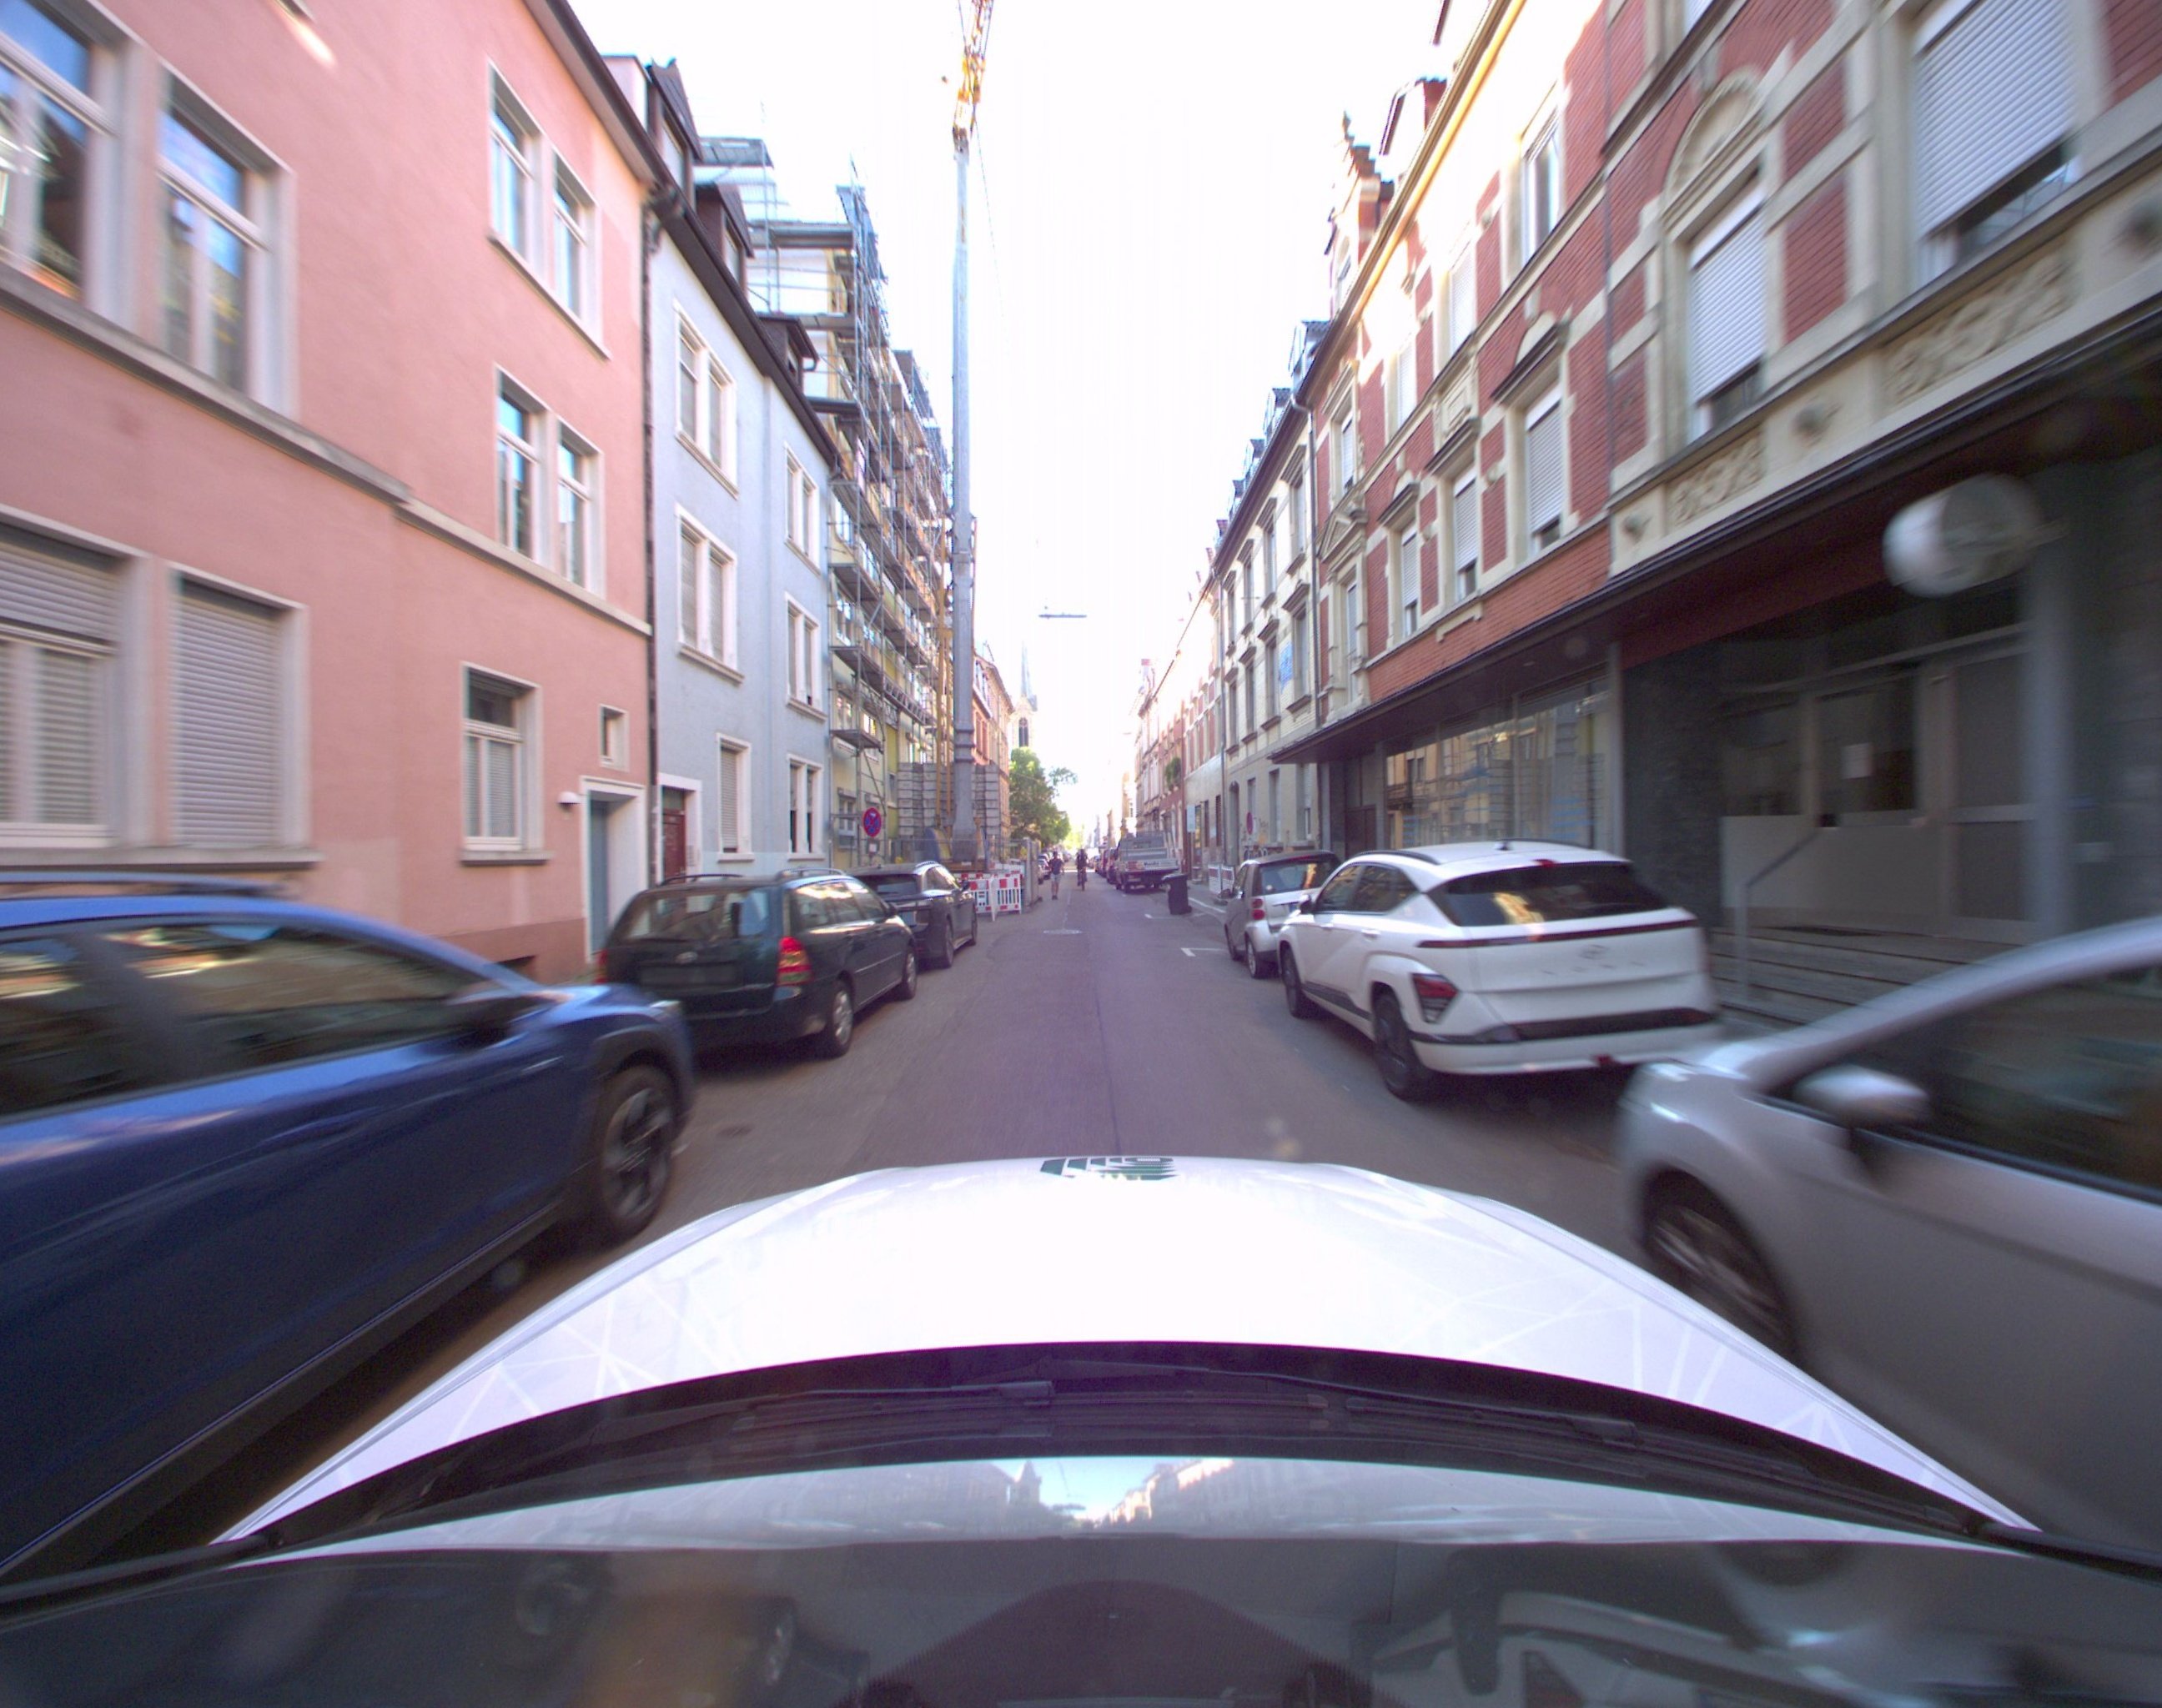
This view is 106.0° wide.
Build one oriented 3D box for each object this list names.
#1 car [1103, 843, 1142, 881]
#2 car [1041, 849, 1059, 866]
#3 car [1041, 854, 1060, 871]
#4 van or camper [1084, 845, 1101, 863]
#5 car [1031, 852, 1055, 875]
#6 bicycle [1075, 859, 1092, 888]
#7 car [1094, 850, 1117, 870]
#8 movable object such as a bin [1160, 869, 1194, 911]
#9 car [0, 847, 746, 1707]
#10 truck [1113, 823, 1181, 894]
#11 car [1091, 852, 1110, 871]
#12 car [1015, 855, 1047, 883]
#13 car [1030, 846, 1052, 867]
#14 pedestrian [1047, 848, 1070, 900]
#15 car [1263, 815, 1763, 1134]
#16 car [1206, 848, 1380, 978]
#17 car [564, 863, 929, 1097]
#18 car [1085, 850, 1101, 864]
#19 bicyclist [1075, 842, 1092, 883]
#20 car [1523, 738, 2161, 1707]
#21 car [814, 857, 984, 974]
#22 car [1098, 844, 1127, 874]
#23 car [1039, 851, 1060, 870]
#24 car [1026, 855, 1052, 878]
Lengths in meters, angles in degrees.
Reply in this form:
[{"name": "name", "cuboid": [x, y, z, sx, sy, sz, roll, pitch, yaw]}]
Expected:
[{"name": "car", "cuboid": [2.219, 0.427, 44.461, 1.671, 1.963, 4.105, -2, 0, -3]}, {"name": "car", "cuboid": [-3.740, 0.405, 98.418, 1.988, 1.849, 3.997, -2, 0, -2]}, {"name": "car", "cuboid": [-3.468, 0.948, 93.232, 1.988, 1.849, 3.997, -2, 0, -2]}, {"name": "van or camper", "cuboid": [1.738, -0.025, 123.481, 1.990, 2.508, 4.195, -2, 0, -5]}, {"name": "car", "cuboid": [-2.807, 0.667, 59.732, 1.671, 1.571, 3.865, -2, 0, -3]}, {"name": "bicycle", "cuboid": [0.098, 0.841, 35.683, 0.722, 1.186, 2.042, 0, 1, 0]}, {"name": "car", "cuboid": [2.076, 0.521, 70.435, 1.671, 1.571, 3.865, -2, 0, -3]}, {"name": "movable object such as a bin", "cuboid": [2.547, 0.946, 21.634, 0.792, 1.056, 0.660, -1, 0, -1]}, {"name": "car", "cuboid": [-2.671, 0.804, 2.307, 1.725, 1.539, 4.373, -3, 0, -3]}, {"name": "truck", "cuboid": [2.646, 0.170, 33.970, 2.184, 2.607, 5.231, -2, 0, -2]}, {"name": "car", "cuboid": [2.239, 0.858, 94.869, 1.988, 2.013, 3.997, -2, 0, -2]}, {"name": "car", "cuboid": [-2.792, 0.838, 46.019, 1.671, 1.445, 3.865, -2, 0, -3]}, {"name": "car", "cuboid": [-3.155, 0.233, 65.002, 1.671, 1.571, 3.865, -2, 0, -3]}, {"name": "pedestrian", "cuboid": [-0.777, 0.681, 28.242, 0.656, 1.732, 0.720, -3, 0, -1]}, {"name": "car", "cuboid": [2.831, 0.658, 6.592, 1.740, 1.675, 4.341, -2, 0, 1]}, {"name": "car", "cuboid": [2.910, 0.728, 11.960, 1.591, 1.560, 3.814, -2, 0, 1]}, {"name": "car", "cuboid": [-2.706, 0.888, 7.801, 1.670, 1.511, 4.413, -2, 0, -1]}, {"name": "car", "cuboid": [1.563, 0.381, 107.894, 1.988, 1.849, 3.997, -2, 0, -2]}, {"name": "bicyclist", "cuboid": [0.097, 0.365, 35.700, 0.728, 1.761, 0.835, -1, 0, 0]}, {"name": "car", "cuboid": [2.548, 0.625, 1.255, 1.634, 1.656, 3.869, -1, 0, 0]}, {"name": "car", "cuboid": [-2.673, 0.815, 13.031, 1.670, 1.477, 4.606, -2, 0, -1]}, {"name": "car", "cuboid": [2.178, 0.349, 56.955, 1.671, 2.031, 3.865, -2, 0, -3]}, {"name": "car", "cuboid": [-2.709, 0.539, 70.201, 1.671, 1.571, 3.865, -2, 0, -3]}, {"name": "car", "cuboid": [-2.813, 0.825, 54.833, 1.671, 1.445, 3.865, -2, 0, -3]}]
